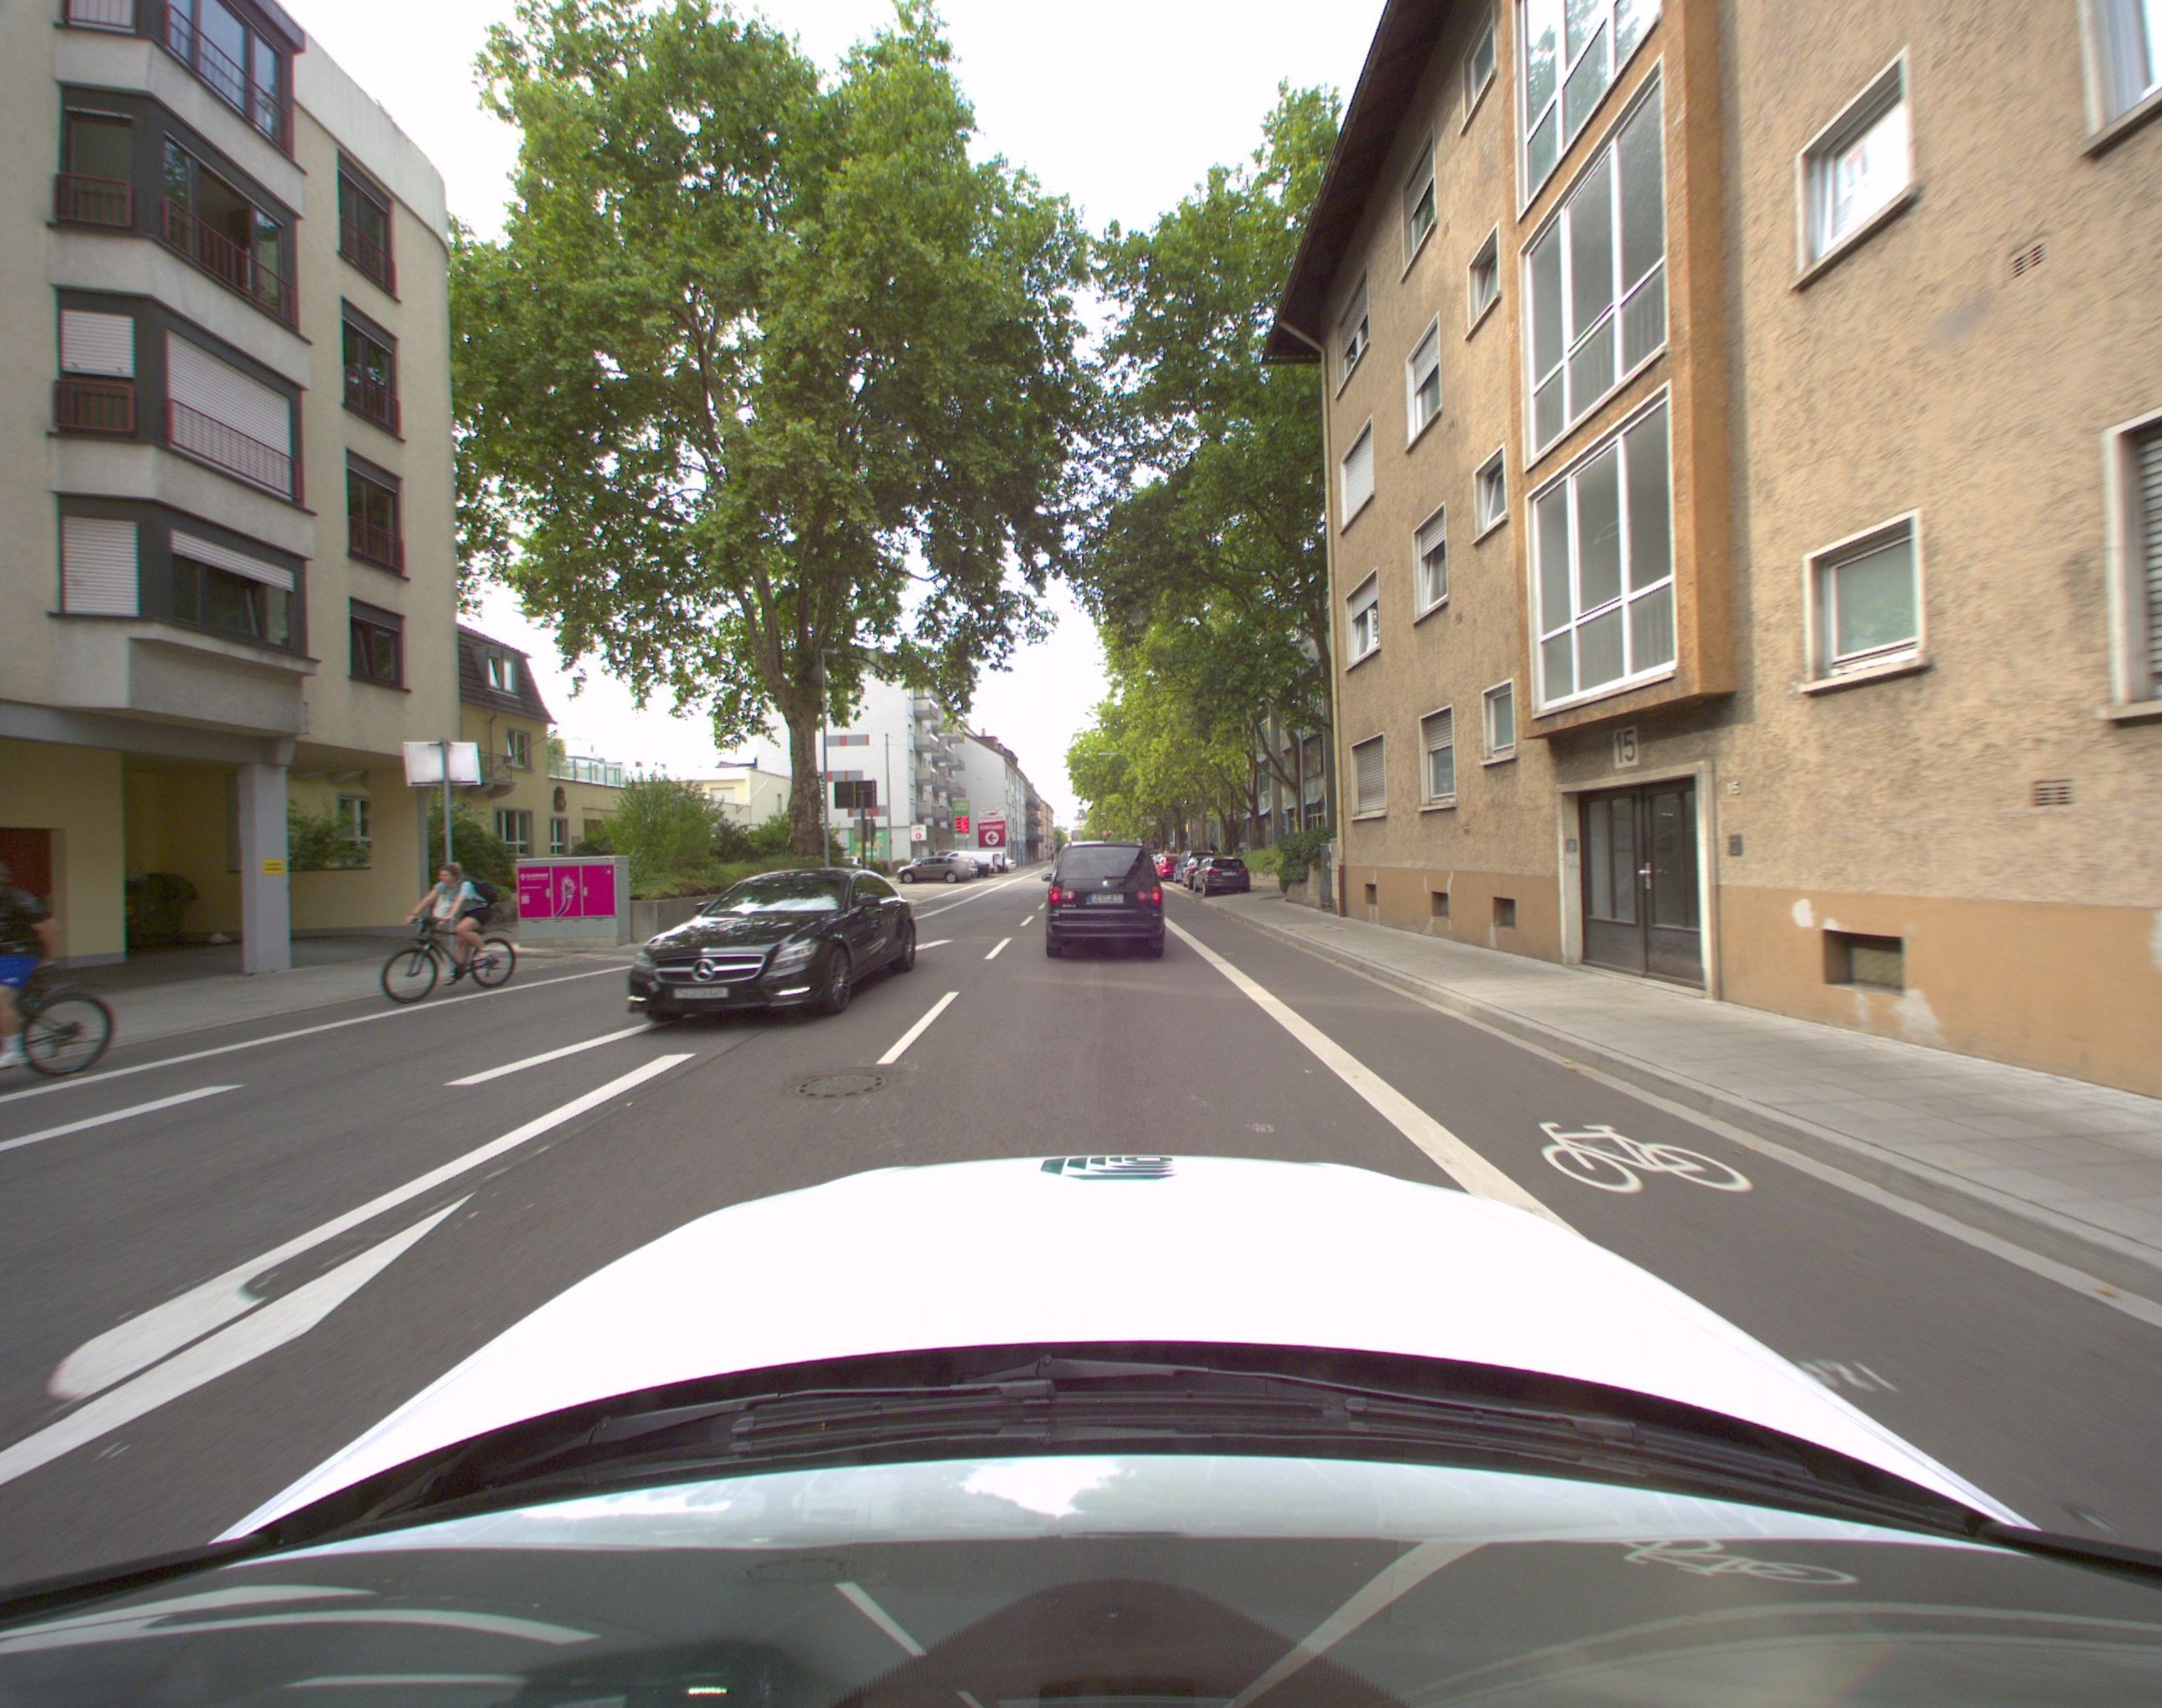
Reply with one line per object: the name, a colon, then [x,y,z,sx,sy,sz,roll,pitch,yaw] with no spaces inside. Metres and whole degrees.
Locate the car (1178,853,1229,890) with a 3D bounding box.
car: [5.342,0.735,35.887,1.652,1.422,3.947,-2,1,0]

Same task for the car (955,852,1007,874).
car: [-8.604,0.751,70.426,4.295,1.870,1.823,1,0,-1]

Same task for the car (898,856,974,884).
car: [-8.844,0.969,49.782,4.241,1.605,1.969,0,1,1]

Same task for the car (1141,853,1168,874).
car: [5.522,0.695,61.723,1.625,1.470,4.316,-1,0,0]

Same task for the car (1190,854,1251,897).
car: [5.274,0.773,31.129,1.652,1.422,3.866,-2,1,0]

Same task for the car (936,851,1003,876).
car: [-8.706,0.738,63.789,4.900,1.903,2.000,1,0,-1]

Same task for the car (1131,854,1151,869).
car: [5.898,0.743,80.231,1.670,1.394,4.461,0,0,1]

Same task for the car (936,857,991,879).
car: [-8.384,0.990,58.381,3.670,1.444,1.753,1,0,0]

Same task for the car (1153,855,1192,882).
car: [5.080,0.785,45.720,1.670,1.394,4.460,-1,0,0]

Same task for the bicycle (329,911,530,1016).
bicycle: [-8.333,1.353,10.588,0.734,1.007,2.197,0,1,4]

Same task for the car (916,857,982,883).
car: [-8.446,0.987,52.297,3.925,1.569,1.755,1,0,2]

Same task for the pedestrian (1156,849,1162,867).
pedestrian: [7.376,0.374,76.959,0.585,1.701,0.508,0,1,1]

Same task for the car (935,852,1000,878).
car: [-8.523,0.819,61.252,4.510,1.878,2.047,1,0,1]

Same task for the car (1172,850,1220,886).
car: [5.693,0.630,40.719,1.653,1.650,4.418,0,1,-1]

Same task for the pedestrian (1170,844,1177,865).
pedestrian: [8.709,0.075,76.678,0.640,1.975,0.692,0,1,1]

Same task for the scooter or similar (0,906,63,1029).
scooter or similar: [-11.861,1.239,9.105,0.288,1.265,1.163,-2,0,-36]

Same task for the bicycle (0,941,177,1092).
bicycle: [-8.730,1.333,6.496,0.734,1.007,1.978,0,1,4]

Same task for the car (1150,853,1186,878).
car: [5.447,0.698,51.451,1.722,1.517,4.870,0,0,0]

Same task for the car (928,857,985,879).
car: [-8.627,0.975,56.511,3.671,1.485,1.753,1,0,-1]

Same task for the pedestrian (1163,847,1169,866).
pedestrian: [8.034,0.237,76.930,0.585,1.838,0.692,0,1,1]

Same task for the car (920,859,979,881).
car: [-8.731,1.059,54.372,3.671,1.426,1.753,1,0,-1]

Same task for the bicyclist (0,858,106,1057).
bicyclist: [-8.671,0.806,6.517,0.654,1.525,0.857,0,1,5]

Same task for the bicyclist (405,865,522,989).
bicyclist: [-8.181,0.936,10.835,0.654,1.525,1.078,0,1,5]

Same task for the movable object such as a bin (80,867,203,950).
movable object such as a bin: [-18.586,1.048,16.140,1.139,1.541,1.065,-2,0,-2]

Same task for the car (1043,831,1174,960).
car: [0.379,0.580,13.181,1.807,1.766,3.737,-1,0,0]

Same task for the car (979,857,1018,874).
car: [-7.320,1.009,72.797,3.333,1.497,1.595,0,-1,-2]

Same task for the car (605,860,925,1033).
car: [-3.174,0.815,9.347,1.804,1.408,4.608,-2,0,0]
